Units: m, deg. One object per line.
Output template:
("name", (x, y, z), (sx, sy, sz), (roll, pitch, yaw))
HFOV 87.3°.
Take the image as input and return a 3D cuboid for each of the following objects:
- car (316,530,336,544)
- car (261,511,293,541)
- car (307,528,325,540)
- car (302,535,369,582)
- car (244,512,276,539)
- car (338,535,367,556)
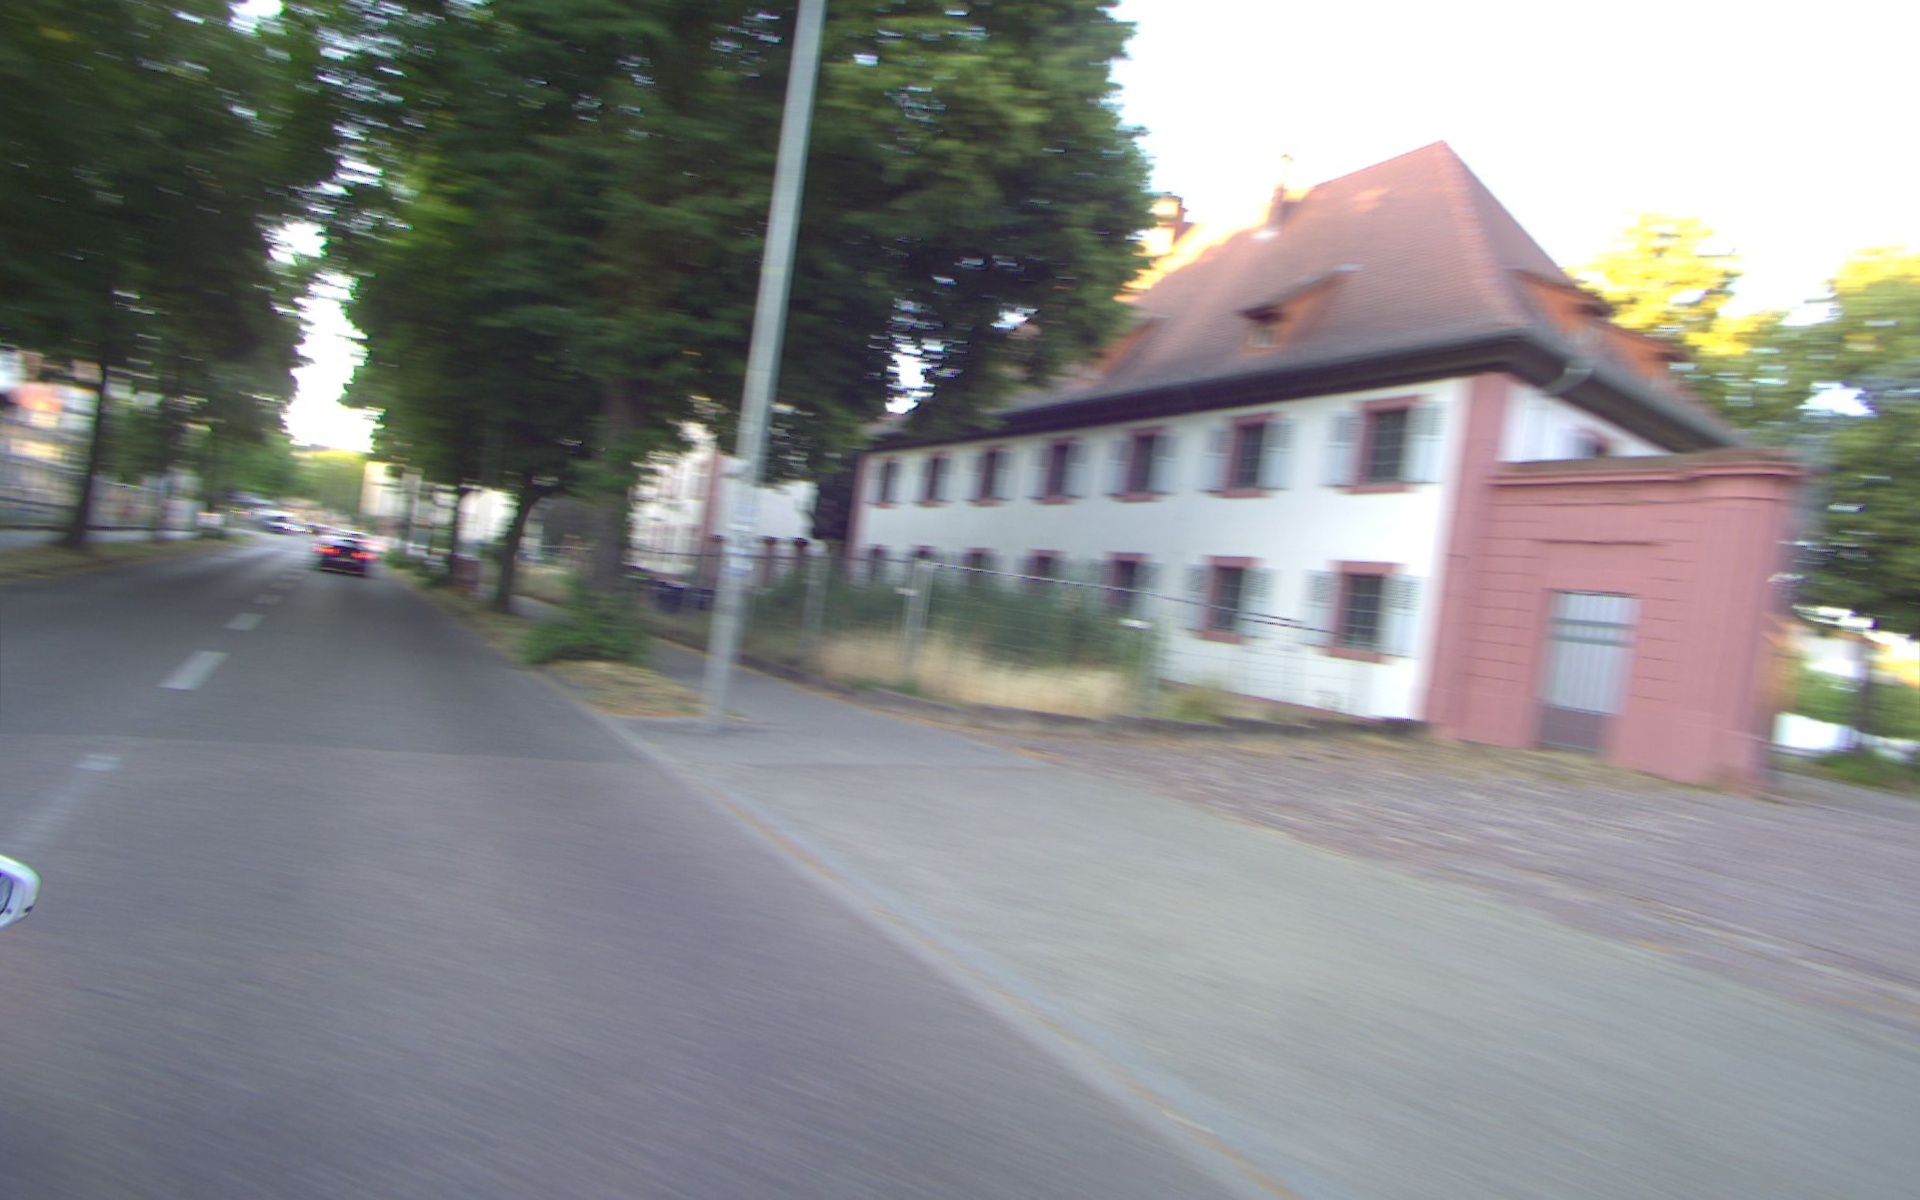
("car", (-79.961, -8.003, 126.914), (1.936, 1.341, 3.964), (11, -2, -33))
("car", (-74.260, -8.039, 109.408), (2.477, 2.729, 5.777), (8, 0, -33))
("car", (-93.156, -9.592, 145.533), (1.936, 1.341, 3.964), (11, -2, -33))
("car", (-23.880, -1.611, 38.446), (1.936, 1.341, 3.964), (11, -2, -33))
("car", (-69.054, -7.397, 99.266), (2.323, 2.224, 5.258), (8, -1, -35))
("car", (-52.083, -4.673, 86.247), (1.935, 1.341, 3.967), (11, -2, -31))
